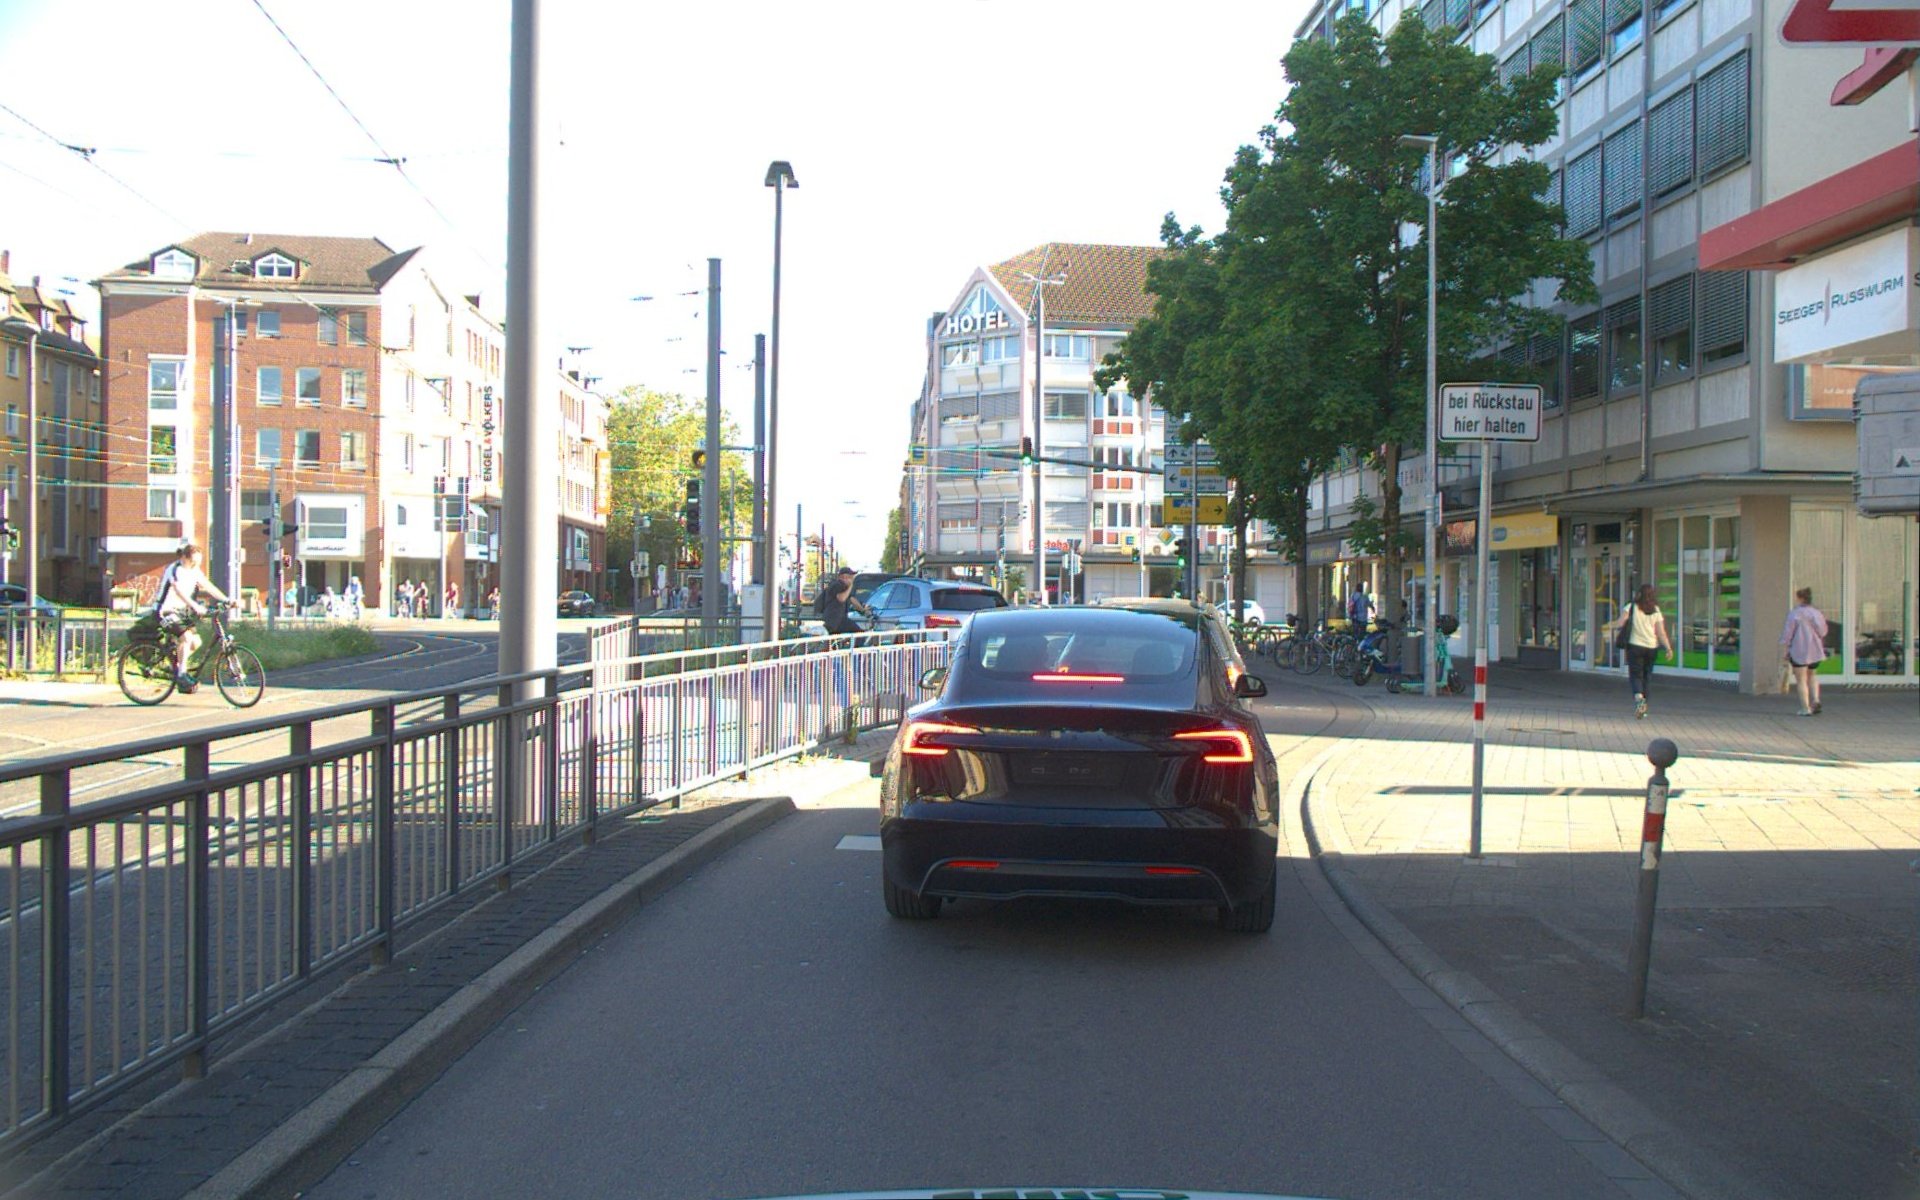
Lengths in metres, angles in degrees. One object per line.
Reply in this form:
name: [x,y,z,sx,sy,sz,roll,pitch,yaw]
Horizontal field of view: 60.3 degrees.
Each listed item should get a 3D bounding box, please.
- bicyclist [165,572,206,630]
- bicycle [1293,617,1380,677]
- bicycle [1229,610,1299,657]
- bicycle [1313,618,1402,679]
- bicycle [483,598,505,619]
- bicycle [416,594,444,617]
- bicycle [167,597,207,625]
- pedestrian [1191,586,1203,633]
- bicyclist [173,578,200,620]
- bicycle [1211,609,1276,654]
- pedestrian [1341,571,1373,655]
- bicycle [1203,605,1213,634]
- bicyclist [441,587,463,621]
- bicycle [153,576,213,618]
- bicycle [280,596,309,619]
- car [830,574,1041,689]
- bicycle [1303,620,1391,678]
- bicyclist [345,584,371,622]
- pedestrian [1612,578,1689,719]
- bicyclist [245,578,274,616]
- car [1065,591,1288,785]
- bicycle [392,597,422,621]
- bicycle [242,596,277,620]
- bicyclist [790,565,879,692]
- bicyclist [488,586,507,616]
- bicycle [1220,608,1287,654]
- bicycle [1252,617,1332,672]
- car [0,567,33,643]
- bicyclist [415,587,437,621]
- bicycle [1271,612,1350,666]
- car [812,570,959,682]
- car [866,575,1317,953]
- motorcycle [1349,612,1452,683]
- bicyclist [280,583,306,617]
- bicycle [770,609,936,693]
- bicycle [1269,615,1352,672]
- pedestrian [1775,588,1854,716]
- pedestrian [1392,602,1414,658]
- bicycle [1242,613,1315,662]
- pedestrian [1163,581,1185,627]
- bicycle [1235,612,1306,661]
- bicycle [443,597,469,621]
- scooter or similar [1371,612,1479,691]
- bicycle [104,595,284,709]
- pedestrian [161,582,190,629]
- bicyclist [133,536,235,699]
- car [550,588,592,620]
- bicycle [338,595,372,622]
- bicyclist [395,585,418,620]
bicyclist: [-21.084,0.020,45.032,0.769,1.554,0.589,1,-1,3]
bicycle: [7.280,0.908,31.964,1.620,1.118,0.349,1,-1,-11]
bicycle: [7.429,0.818,40.435,1.616,1.118,0.350,1,-1,1]
bicycle: [7.481,0.916,31.122,1.620,1.118,0.349,1,-1,-11]
bicycle: [-24.931,0.463,88.542,0.518,1.107,2.225,1,0,1]
bicycle: [-25.273,0.267,78.931,0.518,1.107,2.284,1,0,1]
bicycle: [-28.253,0.391,60.490,0.437,0.988,2.246,1,0,-1]
pedestrian: [8.852,0.337,61.704,0.393,1.740,0.528,1,-1,6]
bicyclist: [-28.249,-0.028,60.425,0.620,1.529,0.696,1,-1,-1]
bicycle: [7.294,0.800,42.573,1.616,1.118,0.350,1,-1,1]
pedestrian: [9.820,0.313,40.922,0.648,2.049,0.579,1,-1,1]
bicycle: [9.202,0.710,61.398,0.325,1.052,1.257,1,0,8]
bicyclist: [-23.966,0.198,77.999,0.767,1.590,0.746,0,0,1]
bicycle: [-21.092,-0.082,44.945,0.449,1.112,2.202,1,0,3]
bicycle: [-29.671,0.337,73.718,0.396,0.998,1.695,1,0,7]
car: [-0.483,0.469,26.467,1.859,1.691,4.125,1,0,-25]
bicycle: [7.384,0.930,31.542,1.620,1.079,0.349,1,-1,-11]
bicyclist: [-25.195,0.116,69.253,0.767,1.590,0.746,1,-1,1]
pedestrian: [9.017,0.609,21.622,0.895,1.783,1.038,0,0,22]
bicyclist: [-28.468,-0.129,67.233,0.880,1.529,0.696,1,-1,-1]
car: [1.882,0.677,14.921,1.714,1.480,4.003,1,0,6]
bicycle: [-25.188,0.403,75.359,0.518,1.107,2.284,0,0,1]
bicycle: [-28.484,0.326,67.282,0.513,0.988,2.246,1,0,-1]
bicyclist: [-1.683,0.372,22.126,0.753,1.657,0.964,1,-1,-39]
bicyclist: [-24.851,0.030,88.790,0.767,1.590,0.746,1,-1,1]
bicycle: [7.364,0.775,41.481,1.616,1.118,0.350,0,0,1]
bicycle: [6.911,0.920,34.431,1.620,1.118,0.349,1,-1,-11]
car: [-20.307,0.088,33.539,1.682,1.553,4.019,1,0,-16]
bicyclist: [-25.291,0.173,78.370,0.767,1.590,0.746,0,0,1]
bicycle: [7.501,0.832,35.444,1.616,1.118,0.350,1,-1,1]
car: [-1.535,0.486,32.593,1.962,2.049,3.981,0,0,-17]
car: [0.667,0.664,8.656,1.791,1.481,4.002,1,0,4]
motorcycle: [7.810,0.838,29.364,1.673,1.194,0.541,1,-1,-3]
bicyclist: [-29.685,-0.014,73.658,0.689,1.496,0.973,0,0,7]
bicycle: [-1.424,0.681,22.389,2.313,1.072,0.622,1,-1,-39]
bicycle: [7.097,0.885,33.489,1.620,1.118,0.349,1,-1,-11]
pedestrian: [11.579,0.691,22.439,0.871,1.696,0.808,1,-1,23]
pedestrian: [10.887,0.730,40.654,0.381,1.367,0.513,1,-1,1]
bicycle: [7.385,0.864,38.394,1.616,1.118,0.350,1,-1,1]
pedestrian: [7.945,0.139,61.386,0.685,1.691,0.777,1,-1,-1]
bicycle: [7.401,0.865,39.421,1.616,1.118,0.350,1,-1,1]
bicycle: [-23.943,0.421,78.585,0.518,1.107,2.225,0,0,1]
scooter or similar: [7.664,0.837,27.287,1.610,1.236,0.644,1,-1,30]
bicycle: [-8.648,0.581,18.697,1.810,1.244,0.486,1,-1,4]
pedestrian: [-31.166,0.207,65.709,0.767,1.852,0.746,1,-1,1]
bicyclist: [-8.771,0.192,18.721,0.735,1.790,0.759,1,-1,4]
car: [-21.922,0.238,93.263,1.663,1.762,3.704,1,0,-3]
bicycle: [-25.257,0.352,69.045,0.526,1.107,2.225,1,0,1]
bicyclist: [-25.215,0.103,75.382,0.767,1.590,0.746,0,0,1]
